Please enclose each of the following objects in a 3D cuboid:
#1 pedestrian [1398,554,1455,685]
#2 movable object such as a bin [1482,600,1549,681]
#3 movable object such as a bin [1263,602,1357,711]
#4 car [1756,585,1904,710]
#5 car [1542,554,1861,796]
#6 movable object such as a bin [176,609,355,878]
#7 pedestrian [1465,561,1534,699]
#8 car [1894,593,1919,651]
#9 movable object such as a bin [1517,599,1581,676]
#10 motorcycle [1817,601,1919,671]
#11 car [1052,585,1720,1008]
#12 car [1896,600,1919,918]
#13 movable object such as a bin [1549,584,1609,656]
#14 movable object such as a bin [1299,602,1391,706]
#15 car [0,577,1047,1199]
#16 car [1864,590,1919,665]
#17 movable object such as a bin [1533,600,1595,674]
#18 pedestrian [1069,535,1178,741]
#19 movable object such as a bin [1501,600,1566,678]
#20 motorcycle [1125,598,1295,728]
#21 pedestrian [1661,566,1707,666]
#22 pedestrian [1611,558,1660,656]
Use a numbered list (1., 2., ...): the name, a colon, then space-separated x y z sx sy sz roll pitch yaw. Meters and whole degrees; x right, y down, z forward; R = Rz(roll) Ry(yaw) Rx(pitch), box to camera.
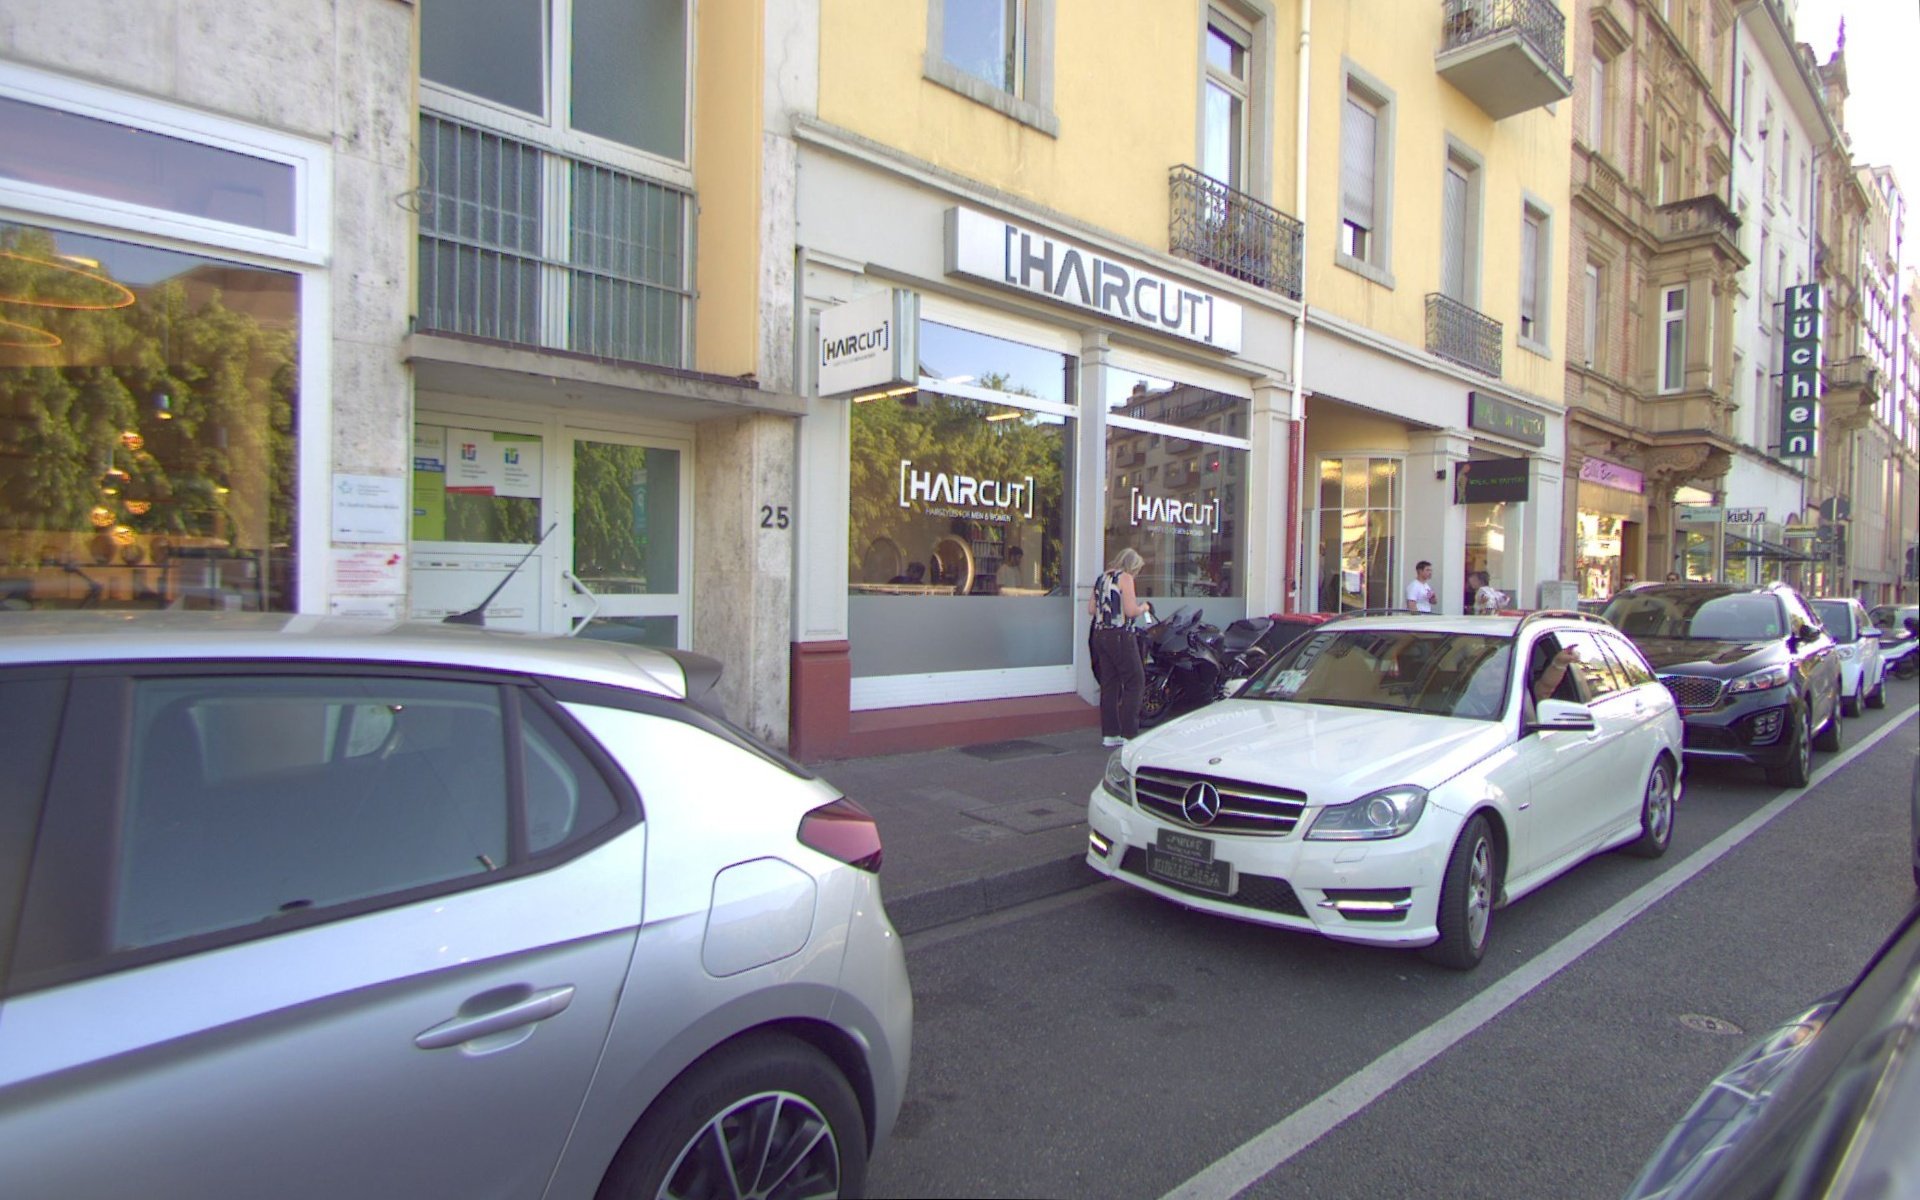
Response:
1. pedestrian: 6.086 0.248 13.205 0.513 1.681 0.339 1 1 -17
2. movable object such as a bin: 7.931 0.559 14.462 0.608 1.079 0.606 0 3 -41
3. movable object such as a bin: 3.678 0.576 10.648 0.608 1.054 0.661 1 3 -38
4. car: 11.957 0.574 13.871 2.749 1.537 1.273 0 1 -44
5. car: 7.181 0.522 9.595 4.498 1.758 1.756 0 1 -45
6. movable object such as a bin: -3.250 0.612 4.727 0.608 1.080 0.704 0 4 -41
7. pedestrian: 6.754 0.366 12.687 0.583 1.681 0.450 2 1 8
8. car: 25.625 0.559 26.203 3.736 1.435 1.736 0 1 -41
9. movable object such as a bin: 8.878 0.548 15.262 0.608 1.079 0.606 0 3 -41
10. motorcycle: 18.172 0.694 19.680 2.137 1.295 0.866 1 0 8
11. car: 2.647 0.670 5.658 4.387 1.465 1.741 0 1 -42
12. car: 6.598 0.745 5.463 4.297 1.467 1.846 0 1 -41
13. movable object such as a bin: 9.833 0.299 16.080 0.608 1.079 0.606 0 3 -41
14. movable object such as a bin: 4.194 0.568 11.040 0.608 1.037 0.669 1 3 -38
15. car: -1.797 0.683 1.651 4.010 1.445 1.671 0 1 -45
16. car: 21.312 0.563 22.311 4.096 1.537 1.734 0 1 -44
17. movable object such as a bin: 9.349 0.556 15.668 0.608 1.079 0.606 0 3 -41
18. pedestrian: 1.376 0.291 8.551 0.523 1.653 0.697 0 2 -42
19. movable object such as a bin: 8.420 0.554 14.868 0.608 1.079 0.606 0 3 -41
20. motorcycle: 2.430 0.550 9.689 1.975 1.105 0.551 0 2 -42
21. pedestrian: 12.154 0.263 16.999 0.508 1.653 0.412 1 0 17
22. pedestrian: 11.621 0.109 17.409 0.617 1.653 0.455 1 0 45
